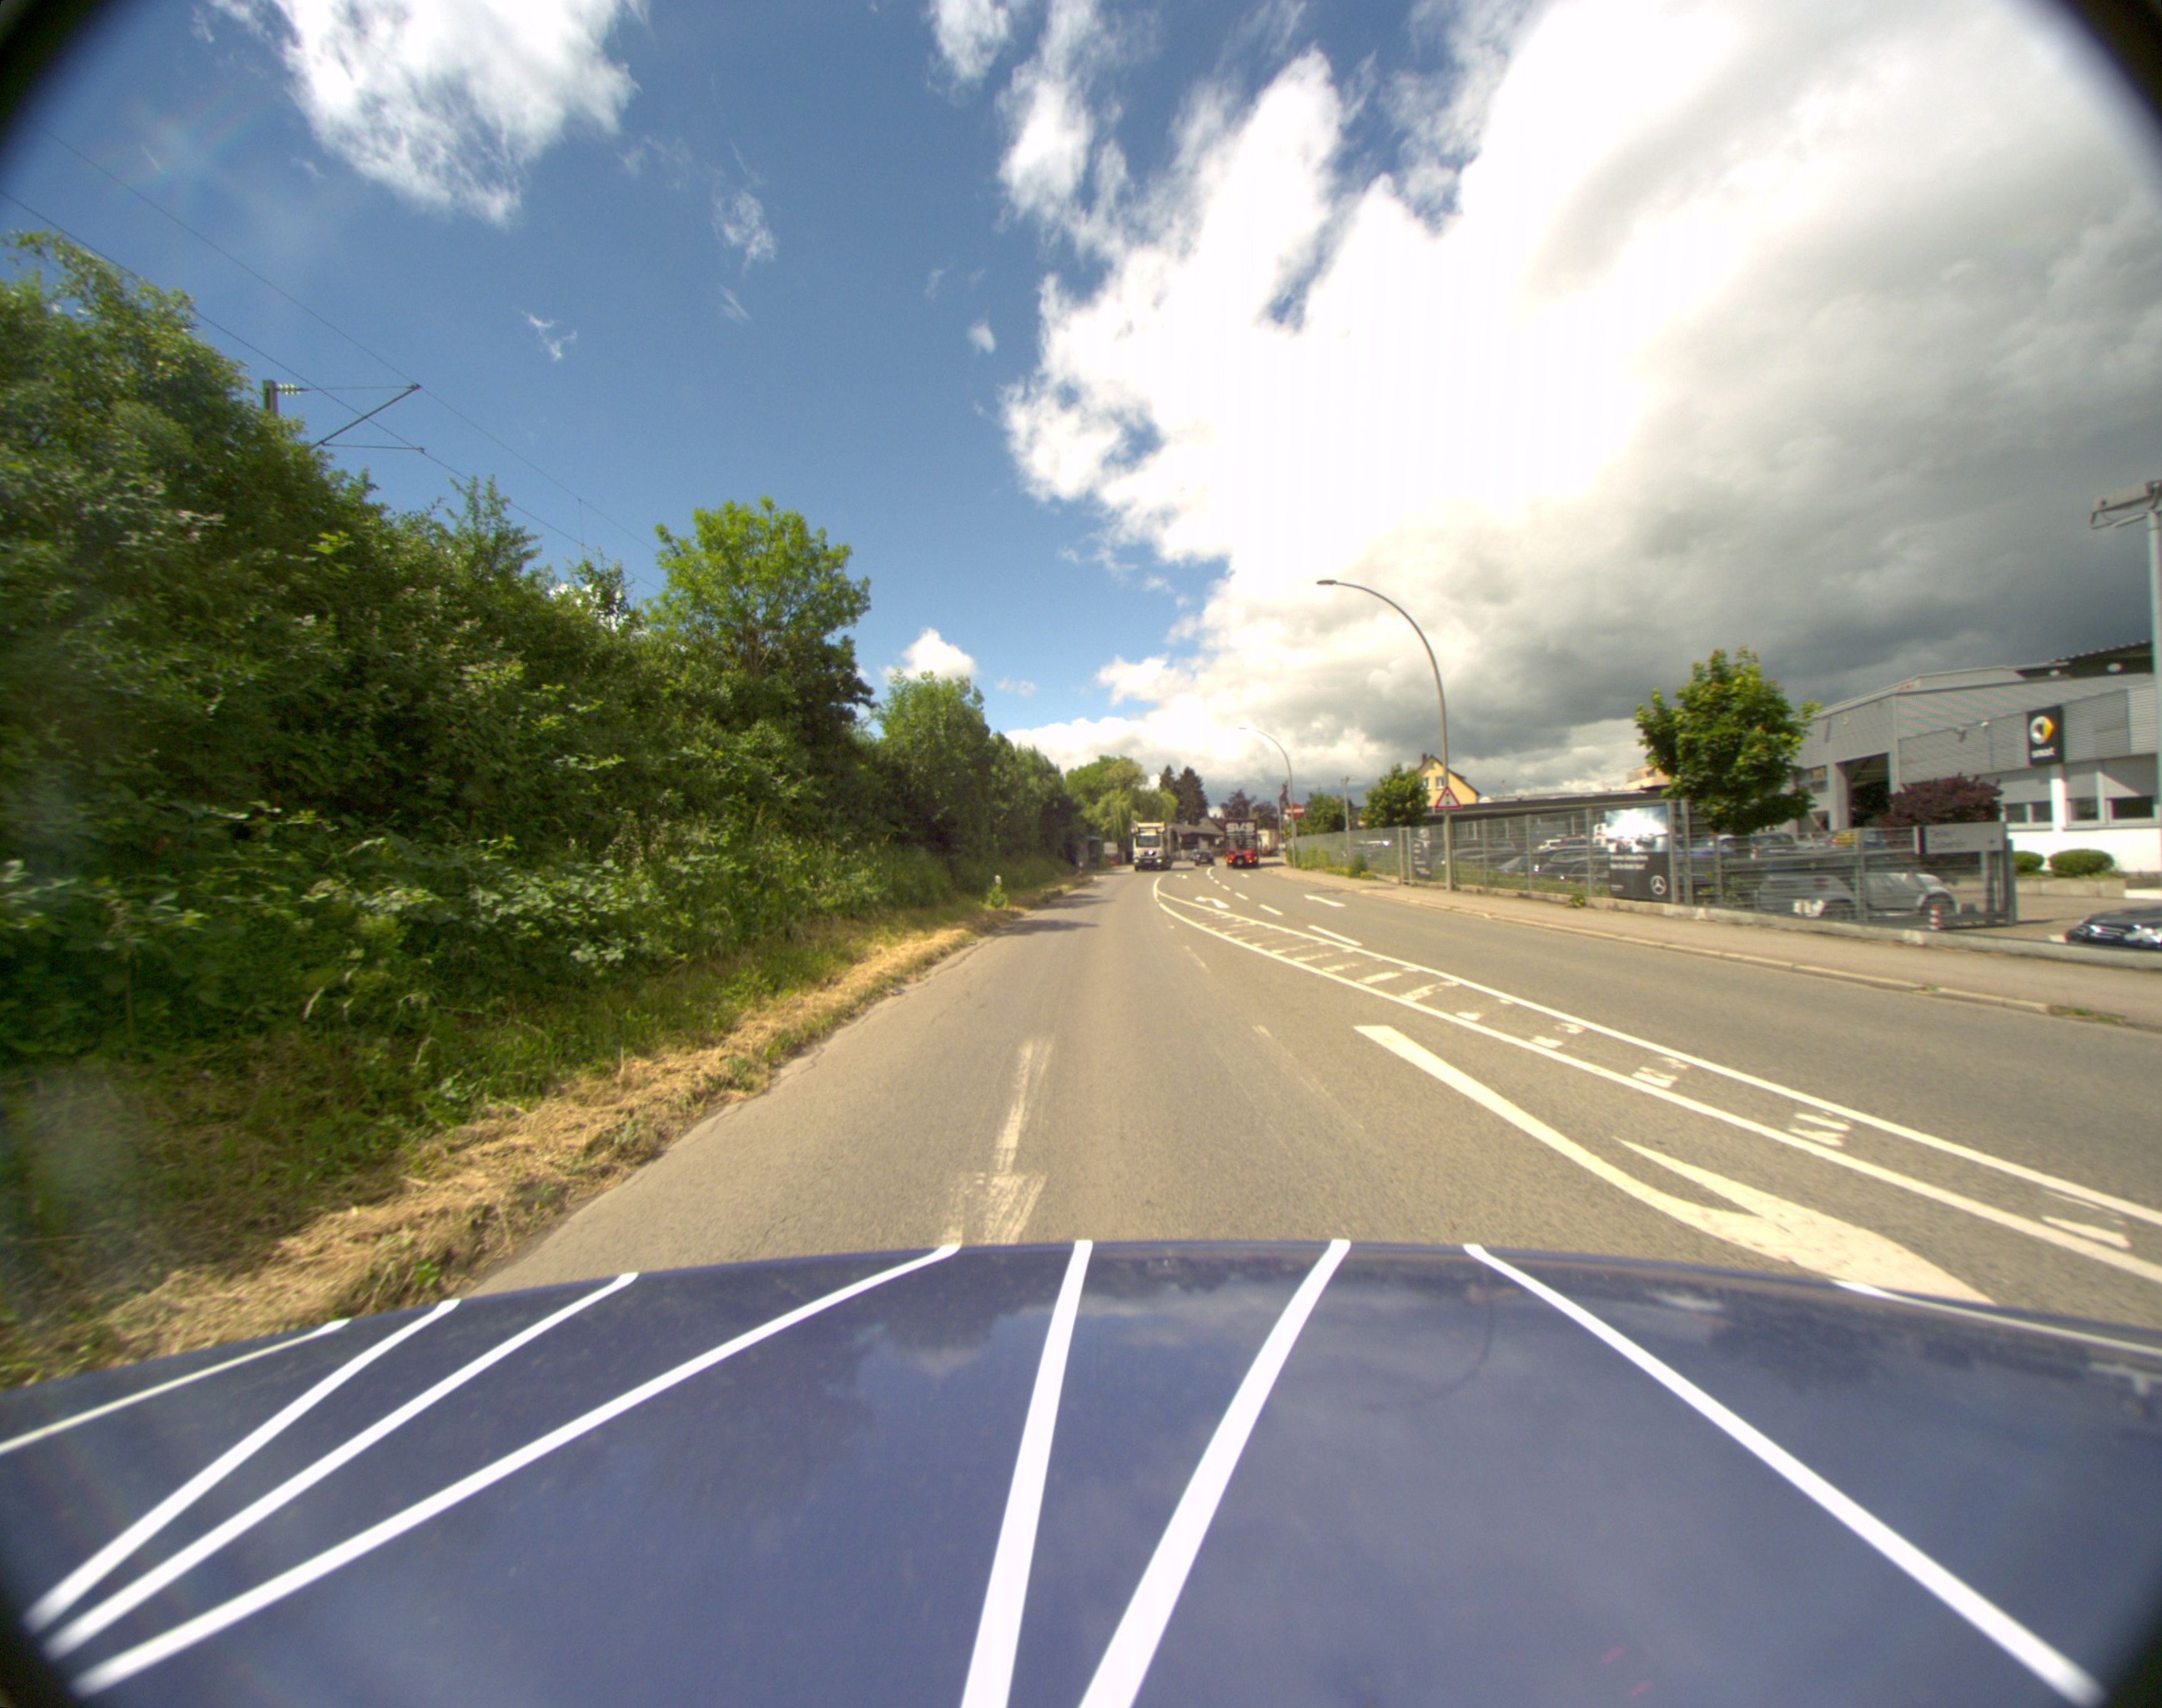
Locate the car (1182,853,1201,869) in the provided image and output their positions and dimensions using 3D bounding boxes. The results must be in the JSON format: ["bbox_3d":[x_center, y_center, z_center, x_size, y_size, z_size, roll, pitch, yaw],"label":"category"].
[{"bbox_3d":[14.439,0.906,99.138,1.952,2.002,4.004,-2,0,16],"label":"car"}]

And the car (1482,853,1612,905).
[{"bbox_3d":[15.275,0.805,25.036,3.263,1.565,1.582,-2,0,5],"label":"car"}]

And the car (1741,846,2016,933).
[{"bbox_3d":[15.860,0.684,15.267,3.661,1.454,1.658,-3,0,2],"label":"car"}]

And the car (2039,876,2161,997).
[{"bbox_3d":[14.557,0.886,8.756,3.946,1.285,1.807,-4,-1,25],"label":"car"}]

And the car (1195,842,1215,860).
[{"bbox_3d":[11.703,-0.303,71.711,1.799,1.723,4.002,0,1,10],"label":"car"}]

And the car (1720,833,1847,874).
[{"bbox_3d":[26.565,-0.021,28.819,3.262,1.443,1.434,-2,0,10],"label":"car"}]

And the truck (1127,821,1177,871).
[{"bbox_3d":[6.010,-0.695,62.919,2.902,3.746,9.642,-2,1,12],"label":"truck"}]

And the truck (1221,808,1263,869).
[{"bbox_3d":[13.477,-1.253,63.206,2.978,4.634,8.186,-2,1,14],"label":"truck"}]

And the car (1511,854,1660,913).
[{"bbox_3d":[14.738,0.848,22.346,3.263,1.565,1.582,-2,0,5],"label":"car"}]
